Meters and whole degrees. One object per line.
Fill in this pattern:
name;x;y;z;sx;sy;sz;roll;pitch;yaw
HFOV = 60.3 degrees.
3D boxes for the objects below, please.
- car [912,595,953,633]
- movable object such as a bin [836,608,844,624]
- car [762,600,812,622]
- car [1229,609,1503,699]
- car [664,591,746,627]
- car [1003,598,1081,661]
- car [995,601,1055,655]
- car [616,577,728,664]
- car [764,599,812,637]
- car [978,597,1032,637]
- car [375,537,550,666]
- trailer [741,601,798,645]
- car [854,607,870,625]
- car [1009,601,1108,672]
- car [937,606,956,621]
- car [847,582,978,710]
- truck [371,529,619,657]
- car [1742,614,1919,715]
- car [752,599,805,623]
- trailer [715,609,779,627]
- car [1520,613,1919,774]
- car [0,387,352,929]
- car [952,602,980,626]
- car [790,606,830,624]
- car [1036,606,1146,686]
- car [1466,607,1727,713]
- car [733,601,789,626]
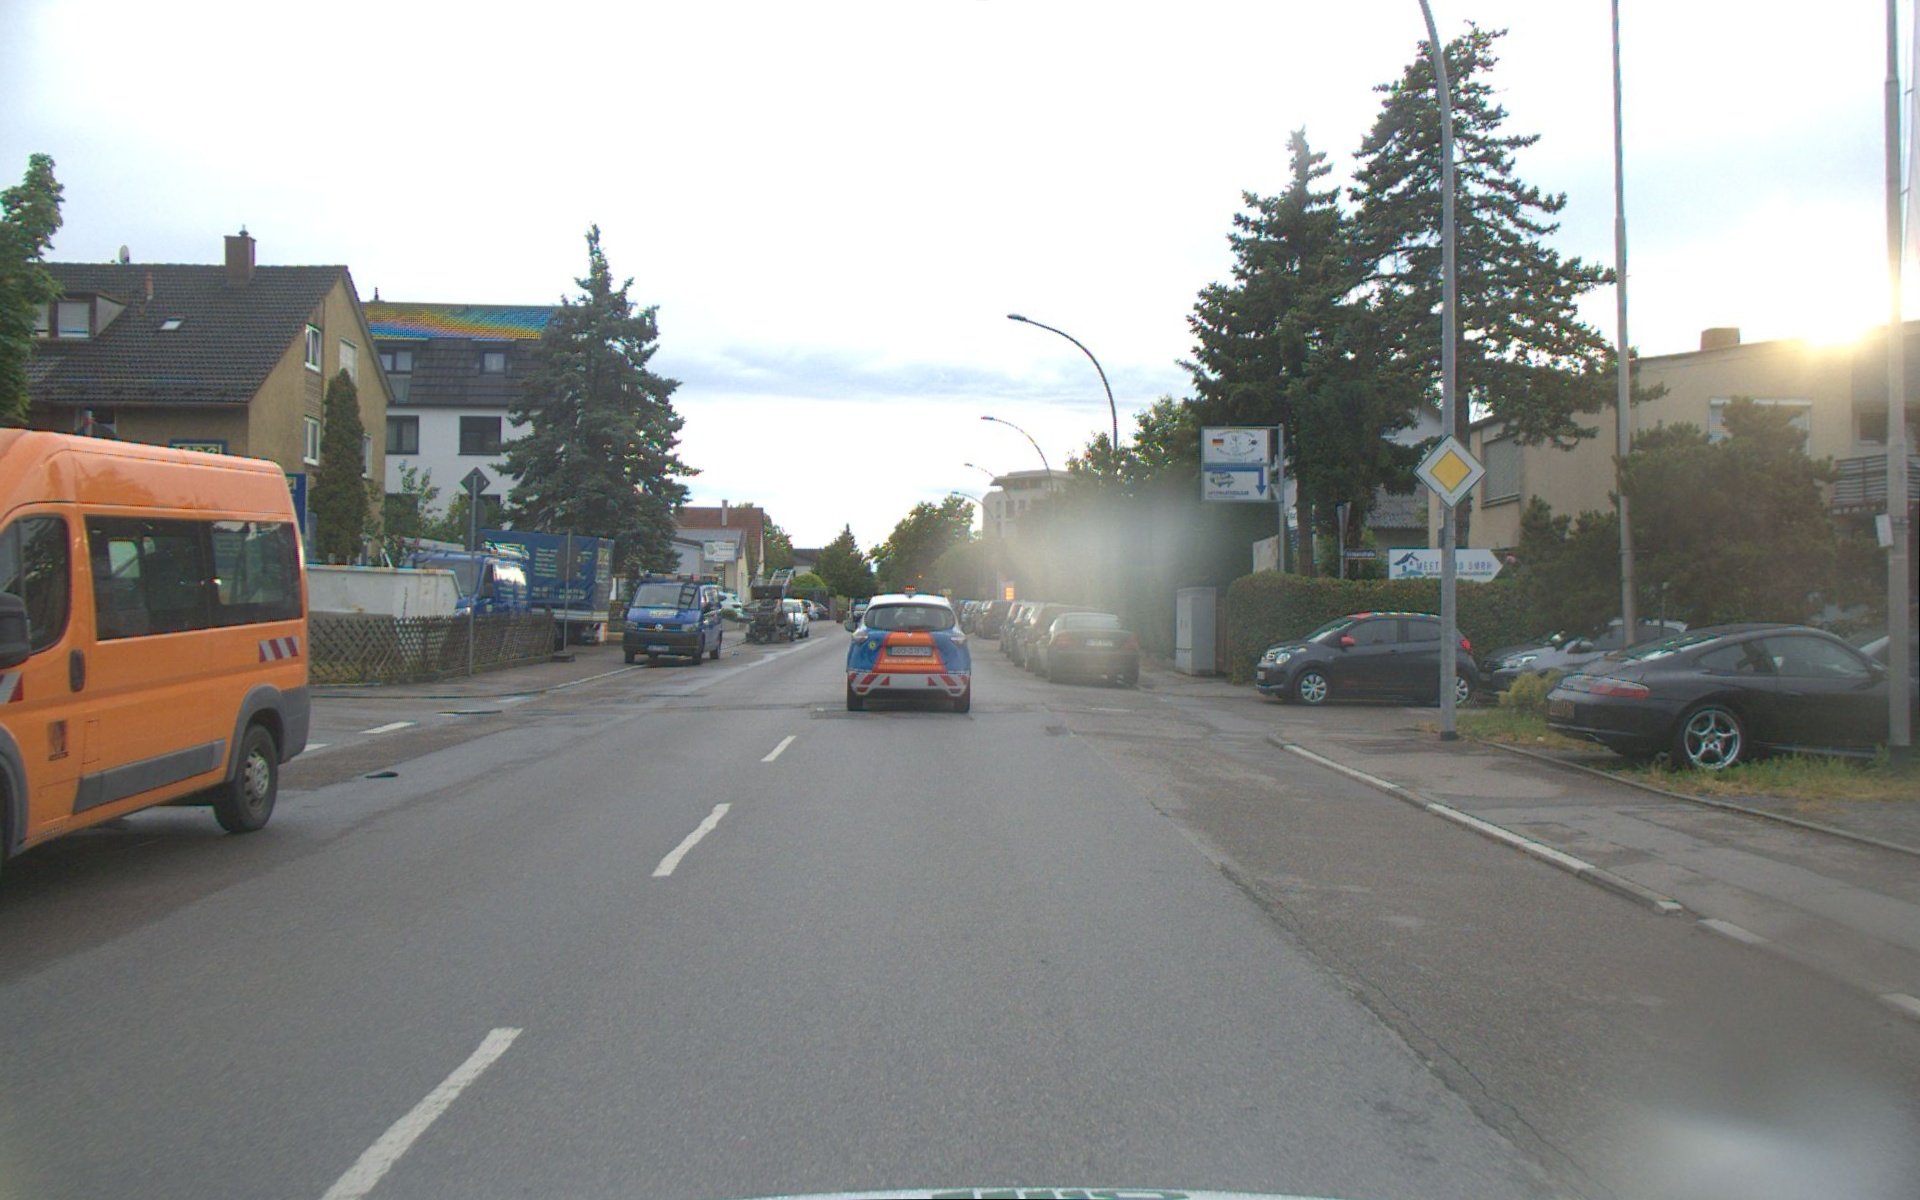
car;-1.213;0.627;72.328;1.617;1.548;3.997;2;-1;-3
movable object such as a bin;-9.396;1.266;129.860;0.568;1.225;0.318;1;-1;-2
car;-12.944;0.816;123.802;3.687;1.509;1.653;2;-1;-6
car;6.520;0.859;26.841;3.907;1.288;1.950;2;-1;-3
car;-12.262;0.448;79.566;3.684;1.595;1.654;2;-1;-3
car;2.036;0.716;42.089;1.624;1.474;3.828;2;0;-2
car;1.879;0.782;48.467;1.457;1.464;3.806;2;0;-2
car;-7.057;0.502;41.012;1.953;1.981;5.363;1;-1;-2
car;-6.893;0.723;66.494;1.526;1.458;3.999;2;-1;-1
car;1.696;0.660;64.160;1.677;1.464;4.523;2;-1;-4
car;-11.018;0.065;37.176;2.033;2.612;6.200;2;-1;-1
trailer;-6.735;0.779;58.861;1.683;1.282;5.242;2;1;-3
car;-8.543;1.374;144.856;1.358;1.509;3.781;1;0;-3
car;2.126;0.788;36.893;1.624;1.444;4.773;2;-1;-4
car;-1.364;1.354;166.236;1.617;1.509;3.997;2;-1;-3
car;-0.682;0.615;23.381;1.697;1.659;3.493;1;-1;-2
truck;-12.281;-0.169;44.047;5.791;3.127;2.449;2;-1;-1
car;15.282;1.065;27.254;3.865;1.534;1.942;2;-1;-3
car;-13.077;0.798;119.435;3.687;1.604;1.653;2;-1;-6
trailer;-13.700;1.148;106.360;3.942;1.012;1.654;2;-1;-3
car;7.421;0.830;15.163;3.905;1.288;1.951;2;-1;0
car;-5.655;0.286;9.647;2.081;2.582;6.020;-1;0;-1
car;0.377;0.971;112.571;1.617;1.548;3.997;2;-1;-3
car;-12.316;1.219;135.726;3.218;1.473;1.478;-1;0;-6
car;2.491;0.850;32.185;1.558;1.364;4.090;3;0;-3
car;10.375;0.963;27.123;3.542;1.565;1.858;2;-1;-3
car;-13.079;0.905;108.847;3.511;1.553;1.653;2;-1;-6
